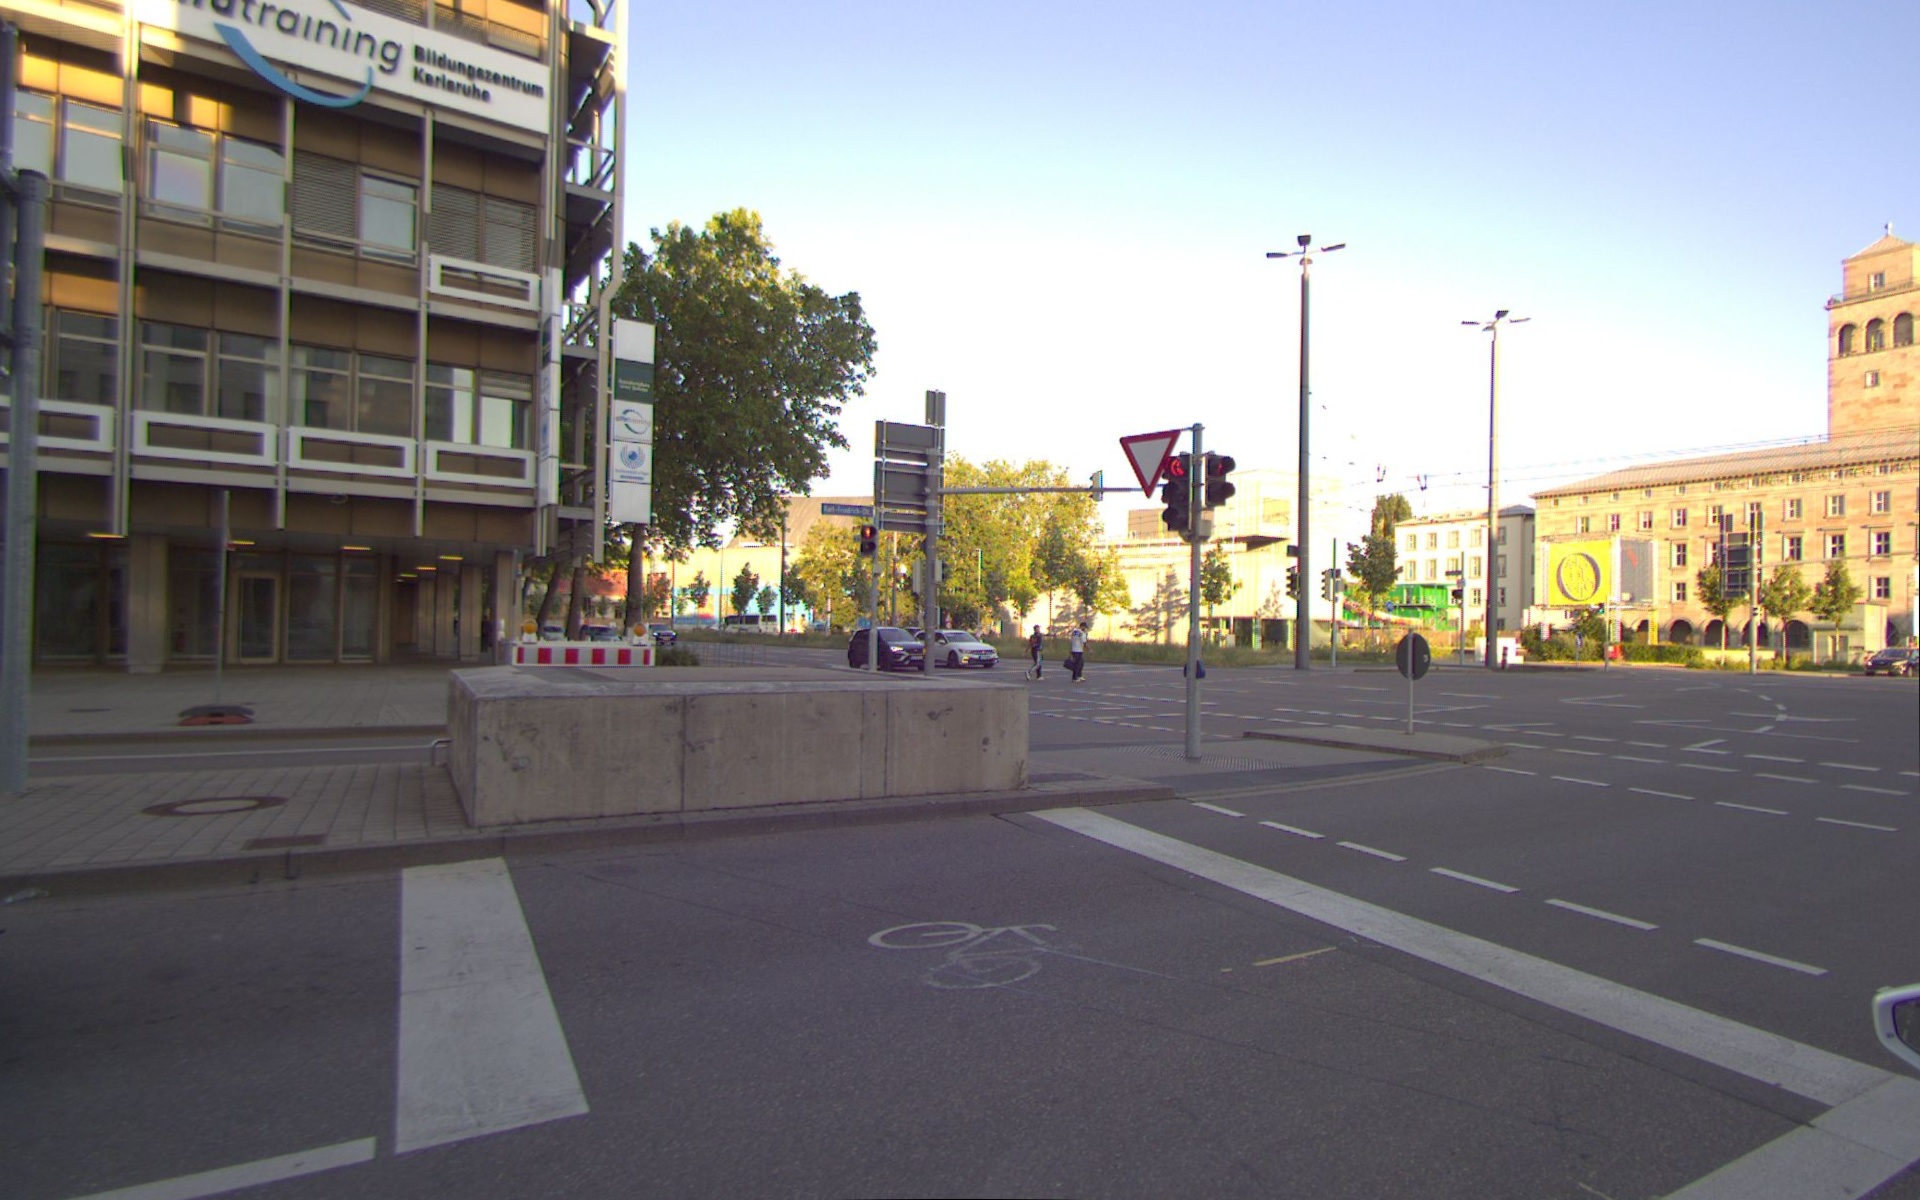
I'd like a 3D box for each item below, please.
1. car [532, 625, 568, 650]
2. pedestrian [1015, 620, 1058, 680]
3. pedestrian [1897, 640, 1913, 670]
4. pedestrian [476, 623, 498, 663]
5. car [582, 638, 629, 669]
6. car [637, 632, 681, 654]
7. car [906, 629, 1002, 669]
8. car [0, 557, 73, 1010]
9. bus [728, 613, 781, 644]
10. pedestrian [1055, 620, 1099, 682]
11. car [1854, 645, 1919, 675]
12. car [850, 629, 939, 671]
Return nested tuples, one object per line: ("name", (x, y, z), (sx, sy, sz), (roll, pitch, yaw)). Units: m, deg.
("car", (-27.715, 2.525, 67.834), (1.722, 1.605, 3.764), (1, -1, -31))
("pedestrian", (2.276, 1.485, 29.857), (0.949, 1.743, 0.816), (2, -2, -34))
("pedestrian", (56.675, 3.321, 60.239), (0.455, 1.767, 0.617), (3, 0, -35))
("pedestrian", (-22.294, 2.011, 47.344), (0.749, 1.830, 0.715), (3, 0, -34))
("car", (-20.147, 2.980, 56.993), (1.722, 1.605, 4.555), (1, -1, -30))
("car", (-22.879, 3.223, 76.256), (1.833, 1.605, 4.546), (1, -2, -35))
("car", (-0.304, 1.912, 40.137), (1.830, 1.476, 4.555), (1, -1, -30))
("car", (-4.918, 0.545, 2.068), (4.330, 1.482, 1.748), (2, 0, -31))
("bus", (-26.377, 3.587, 128.347), (2.959, 3.818, 10.342), (2, -2, -34))
("pedestrian", (3.377, 1.464, 28.981), (0.949, 1.743, 0.816), (2, -2, -34))
("car", (48.062, 3.065, 51.807), (4.111, 1.485, 1.813), (1, -1, -32))
("car", (-2.514, 1.833, 37.685), (1.830, 1.476, 3.921), (1, -1, -30))
